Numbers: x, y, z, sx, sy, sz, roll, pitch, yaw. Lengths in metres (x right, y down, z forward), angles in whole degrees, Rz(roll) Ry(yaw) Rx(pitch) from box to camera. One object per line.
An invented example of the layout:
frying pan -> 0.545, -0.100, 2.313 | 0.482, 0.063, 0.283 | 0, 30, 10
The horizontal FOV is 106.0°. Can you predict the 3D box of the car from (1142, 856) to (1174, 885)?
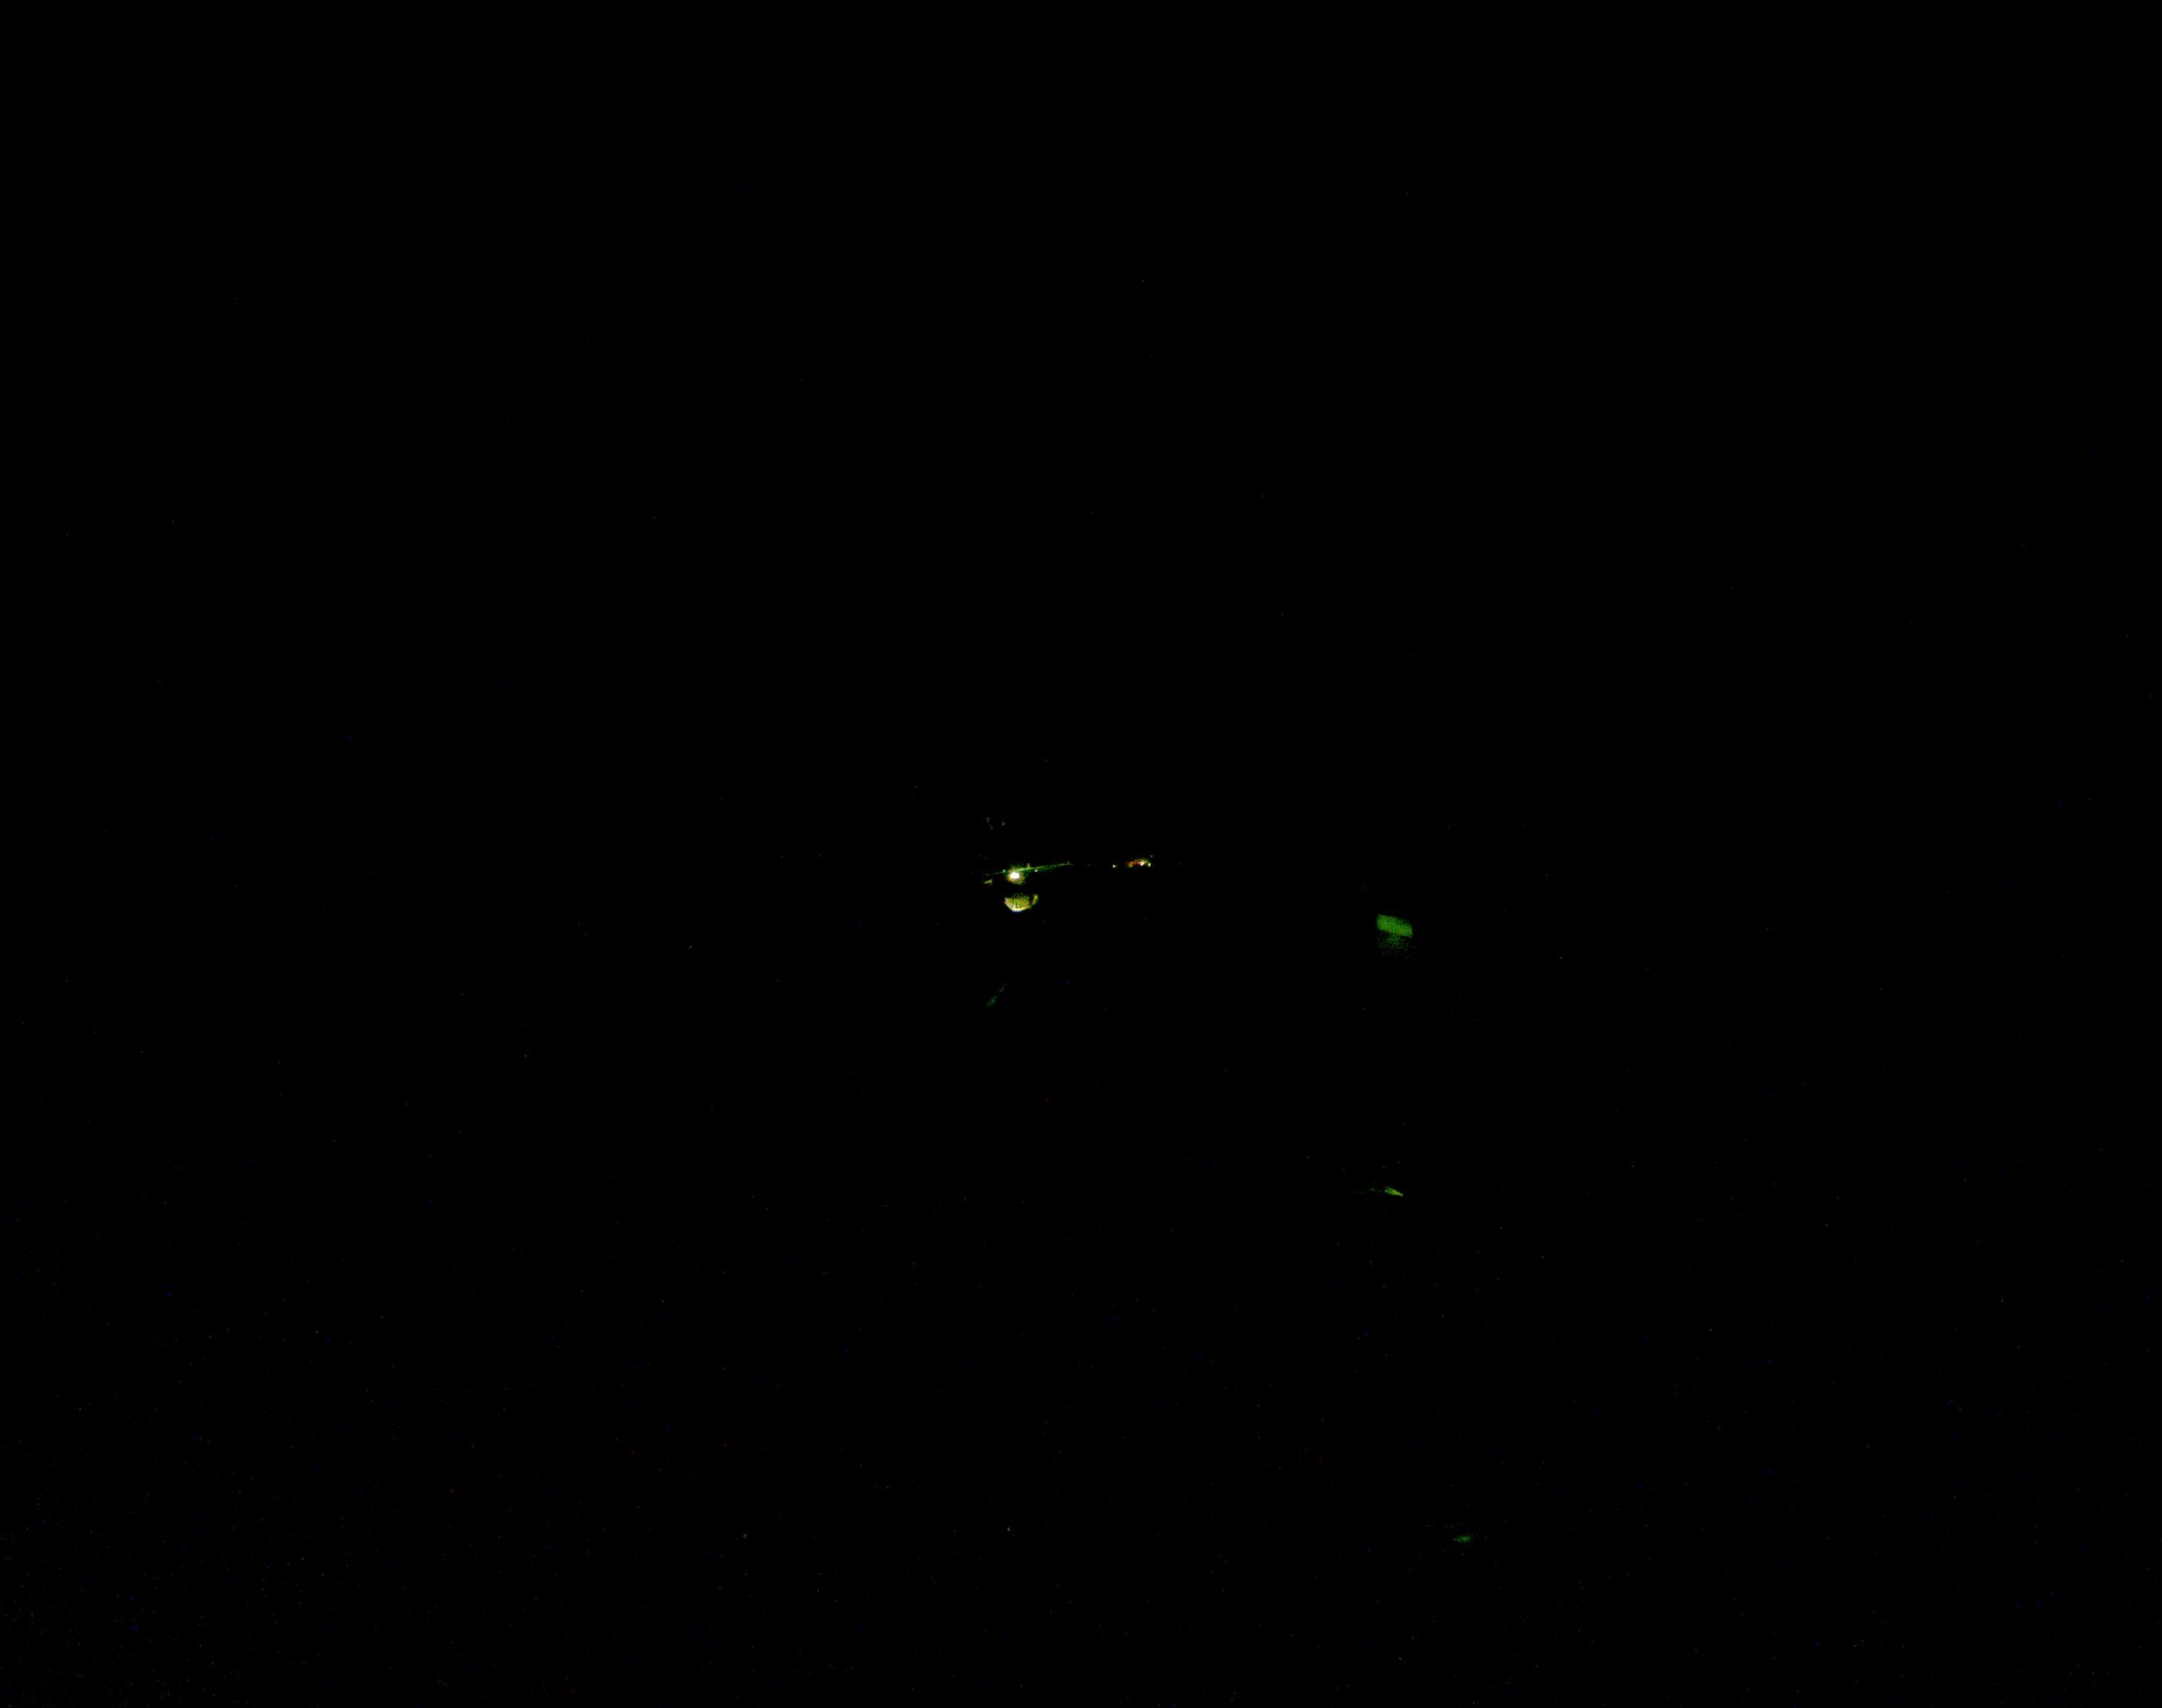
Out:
car -> 5.746, 1.255, 61.078 | 2.188, 2.014, 4.209 | 0, -3, 3
